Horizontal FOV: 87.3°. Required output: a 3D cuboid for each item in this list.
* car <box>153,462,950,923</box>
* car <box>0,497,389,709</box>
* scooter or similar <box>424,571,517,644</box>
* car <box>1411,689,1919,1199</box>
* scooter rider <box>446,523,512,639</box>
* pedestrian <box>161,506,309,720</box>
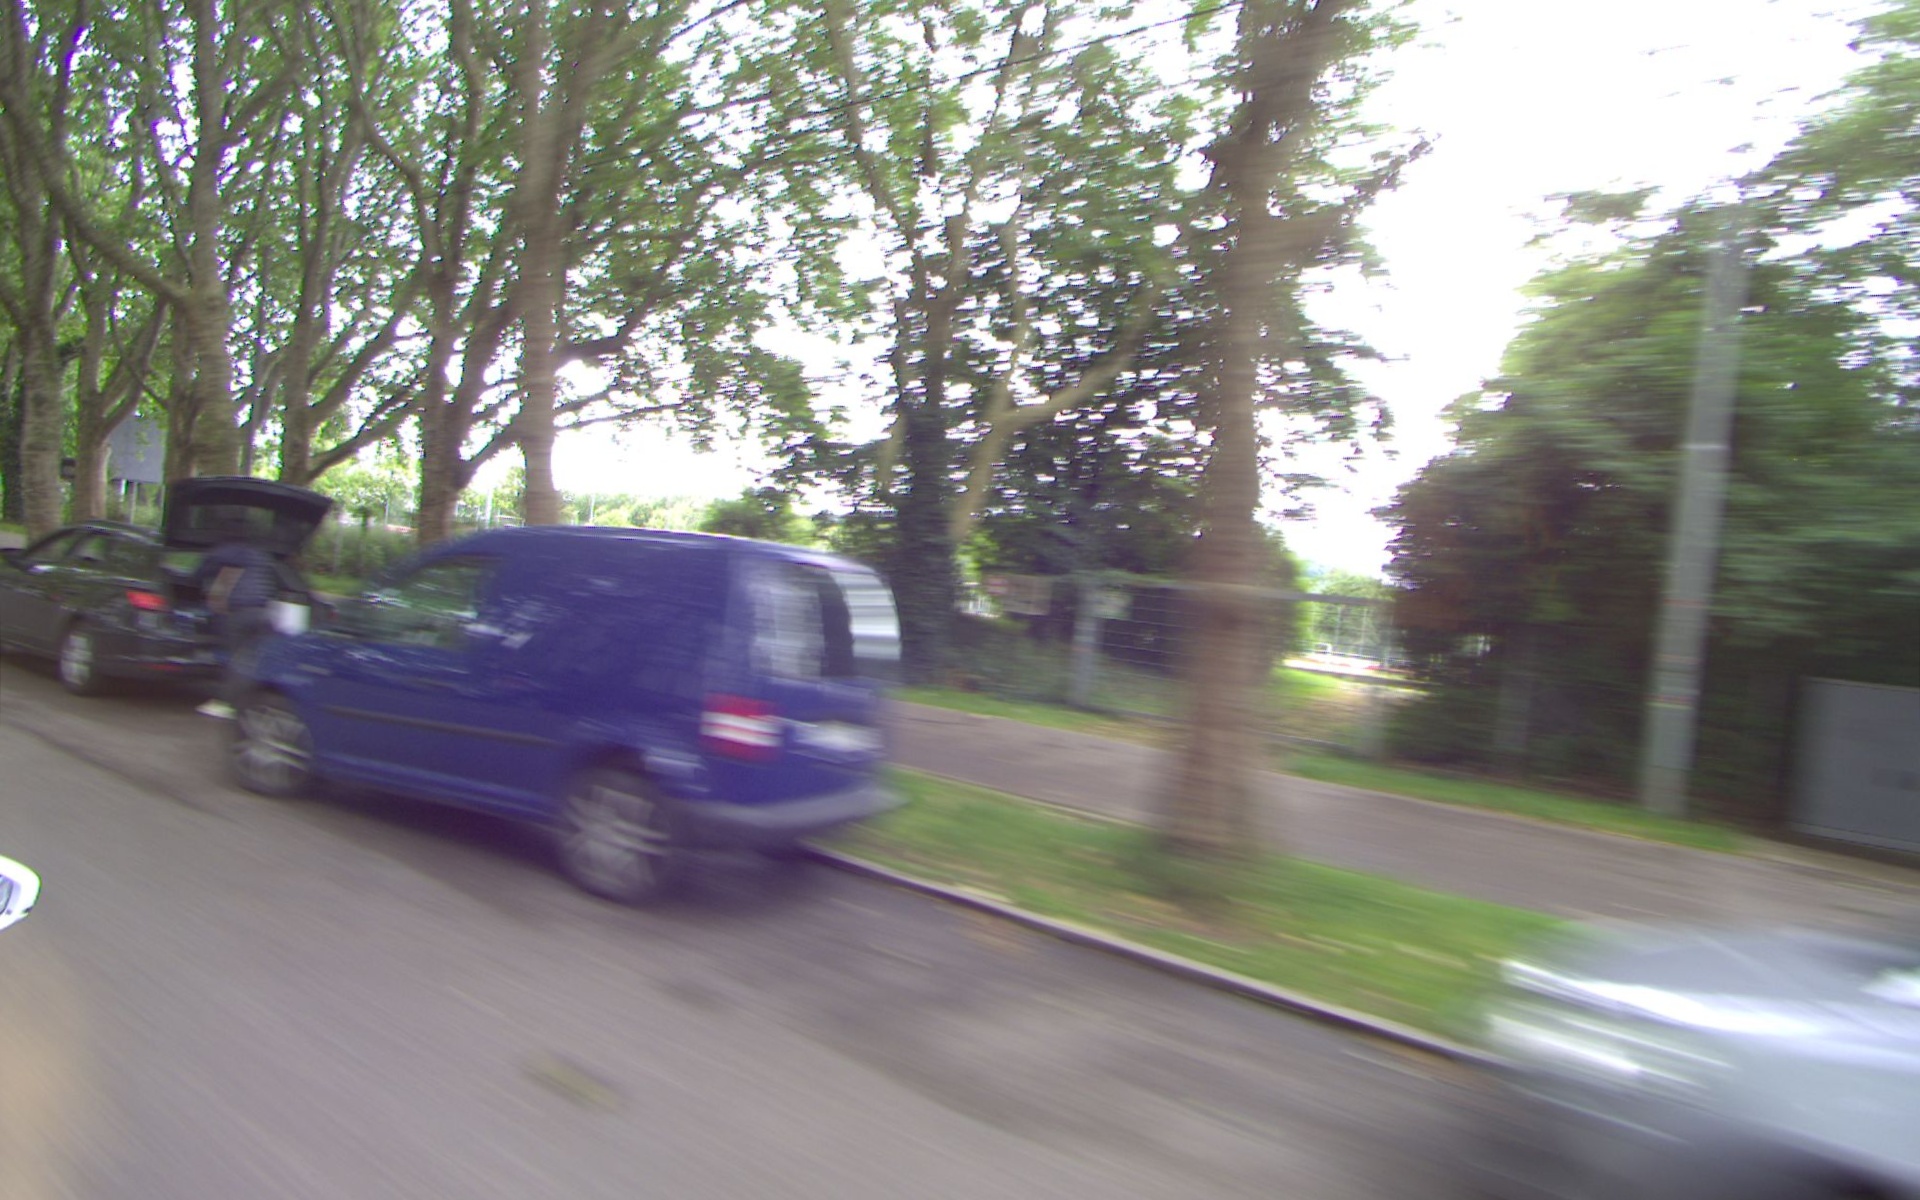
[{"bbox_3d":[-2.521,0.377,6.203,4.366,1.803,1.849,7,-2,23],"label":"car"},{"bbox_3d":[-7.723,-0.032,9.635,4.299,1.495,1.997,6,-2,32],"label":"car"},{"bbox_3d":[-8.145,0.123,16.724,1.443,1.052,0.680,7,3,32],"label":"scooter or similar"},{"bbox_3d":[3.305,1.249,2.264,3.882,1.478,1.622,7,-2,34],"label":"car"},{"bbox_3d":[-7.924,-0.304,16.579,0.578,1.824,0.676,7,3,32],"label":"scooter rider"},{"bbox_3d":[-5.988,0.105,8.317,0.730,1.647,0.634,7,1,32],"label":"pedestrian"}]
